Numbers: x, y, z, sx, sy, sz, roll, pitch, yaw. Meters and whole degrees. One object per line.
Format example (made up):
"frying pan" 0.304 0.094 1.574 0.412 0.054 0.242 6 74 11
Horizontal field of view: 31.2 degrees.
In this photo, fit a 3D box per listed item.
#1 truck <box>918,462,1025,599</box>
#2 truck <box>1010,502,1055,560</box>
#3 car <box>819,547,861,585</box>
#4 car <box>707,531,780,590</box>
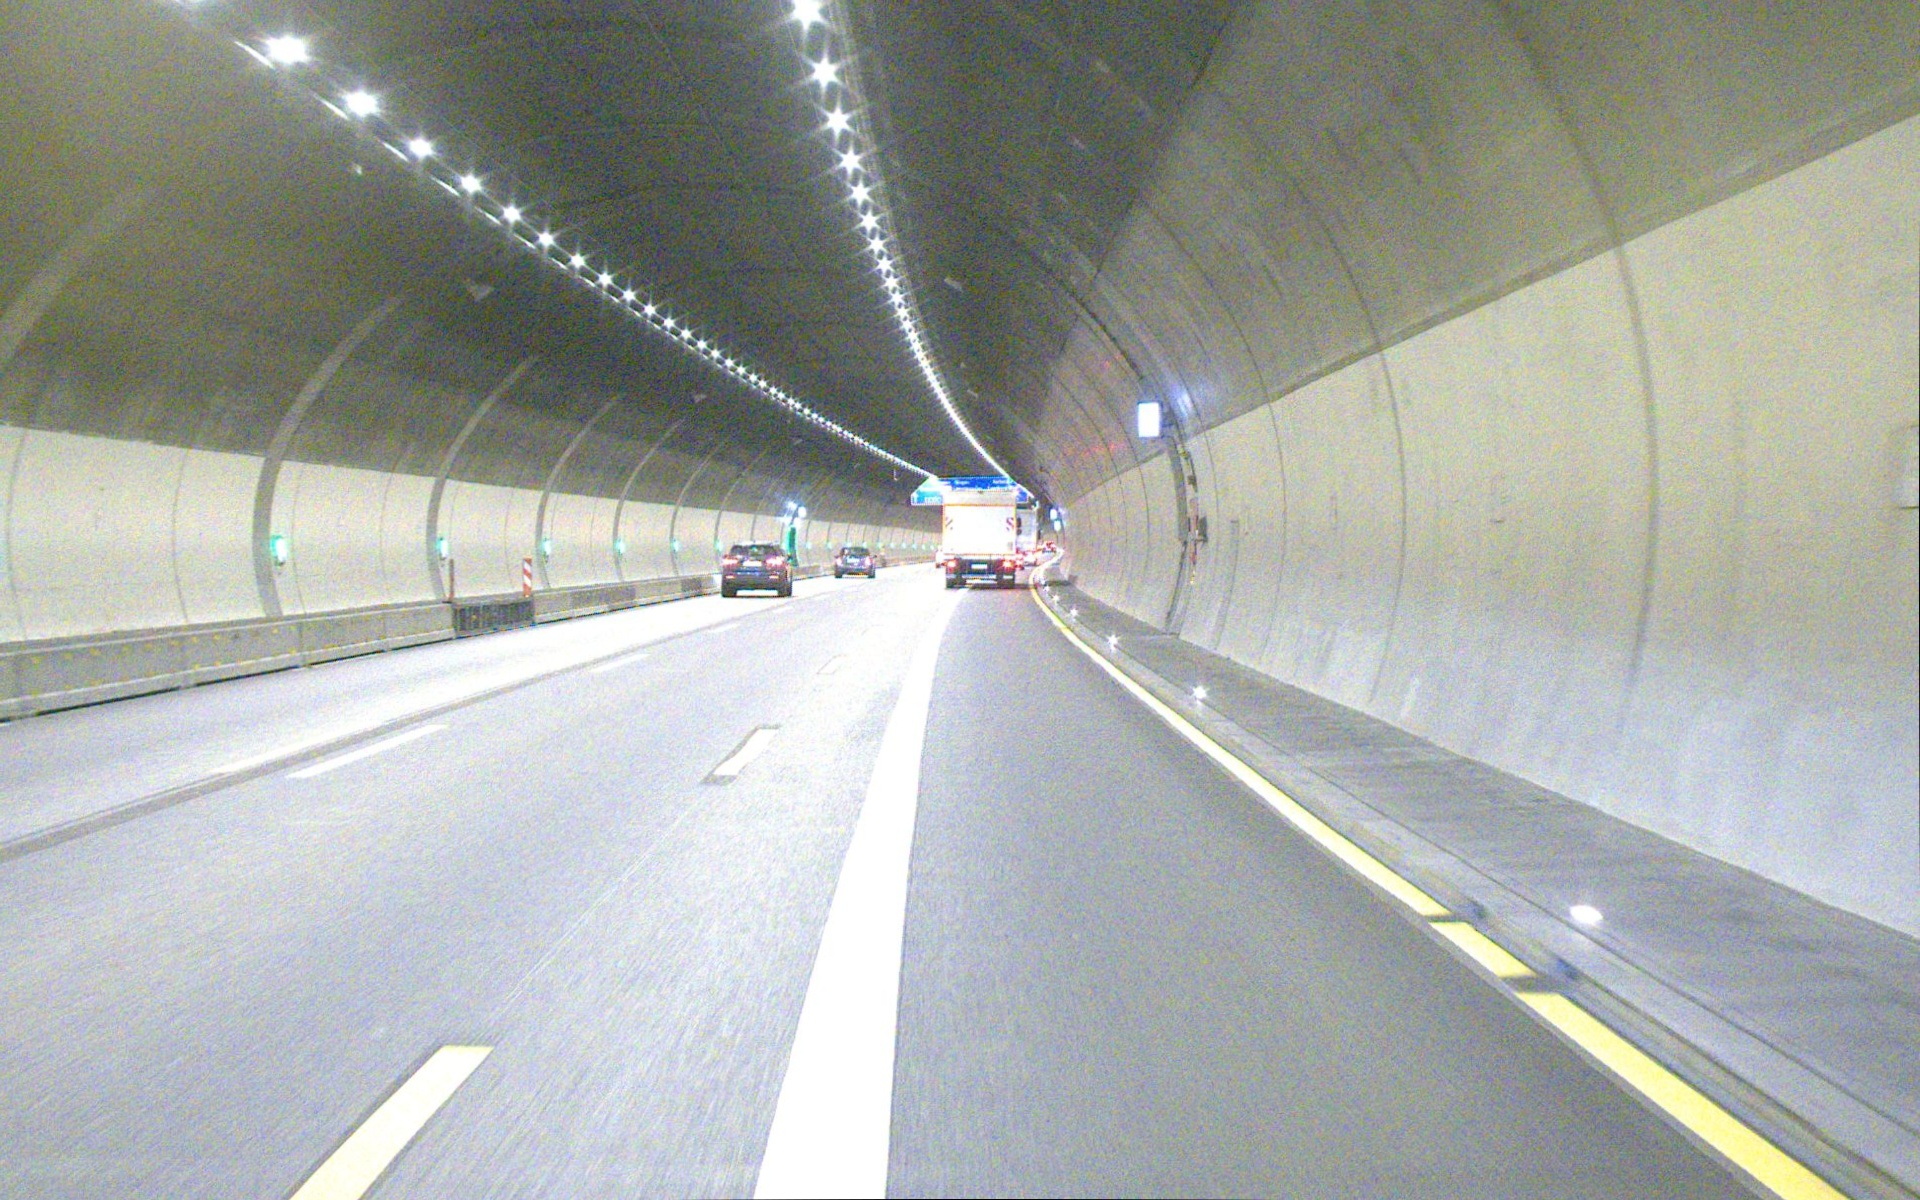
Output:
"truck" 0.290 -2.527 126.337 3.278 4.634 17.288 -1 1 -2
"truck" 5.182 -4.966 248.330 2.922 4.034 14.030 -1 1 0
"car" -5.327 -1.512 152.847 1.812 1.514 4.001 1 2 -2
"car" -6.108 -1.131 97.295 1.812 1.612 4.000 1 1 -1
